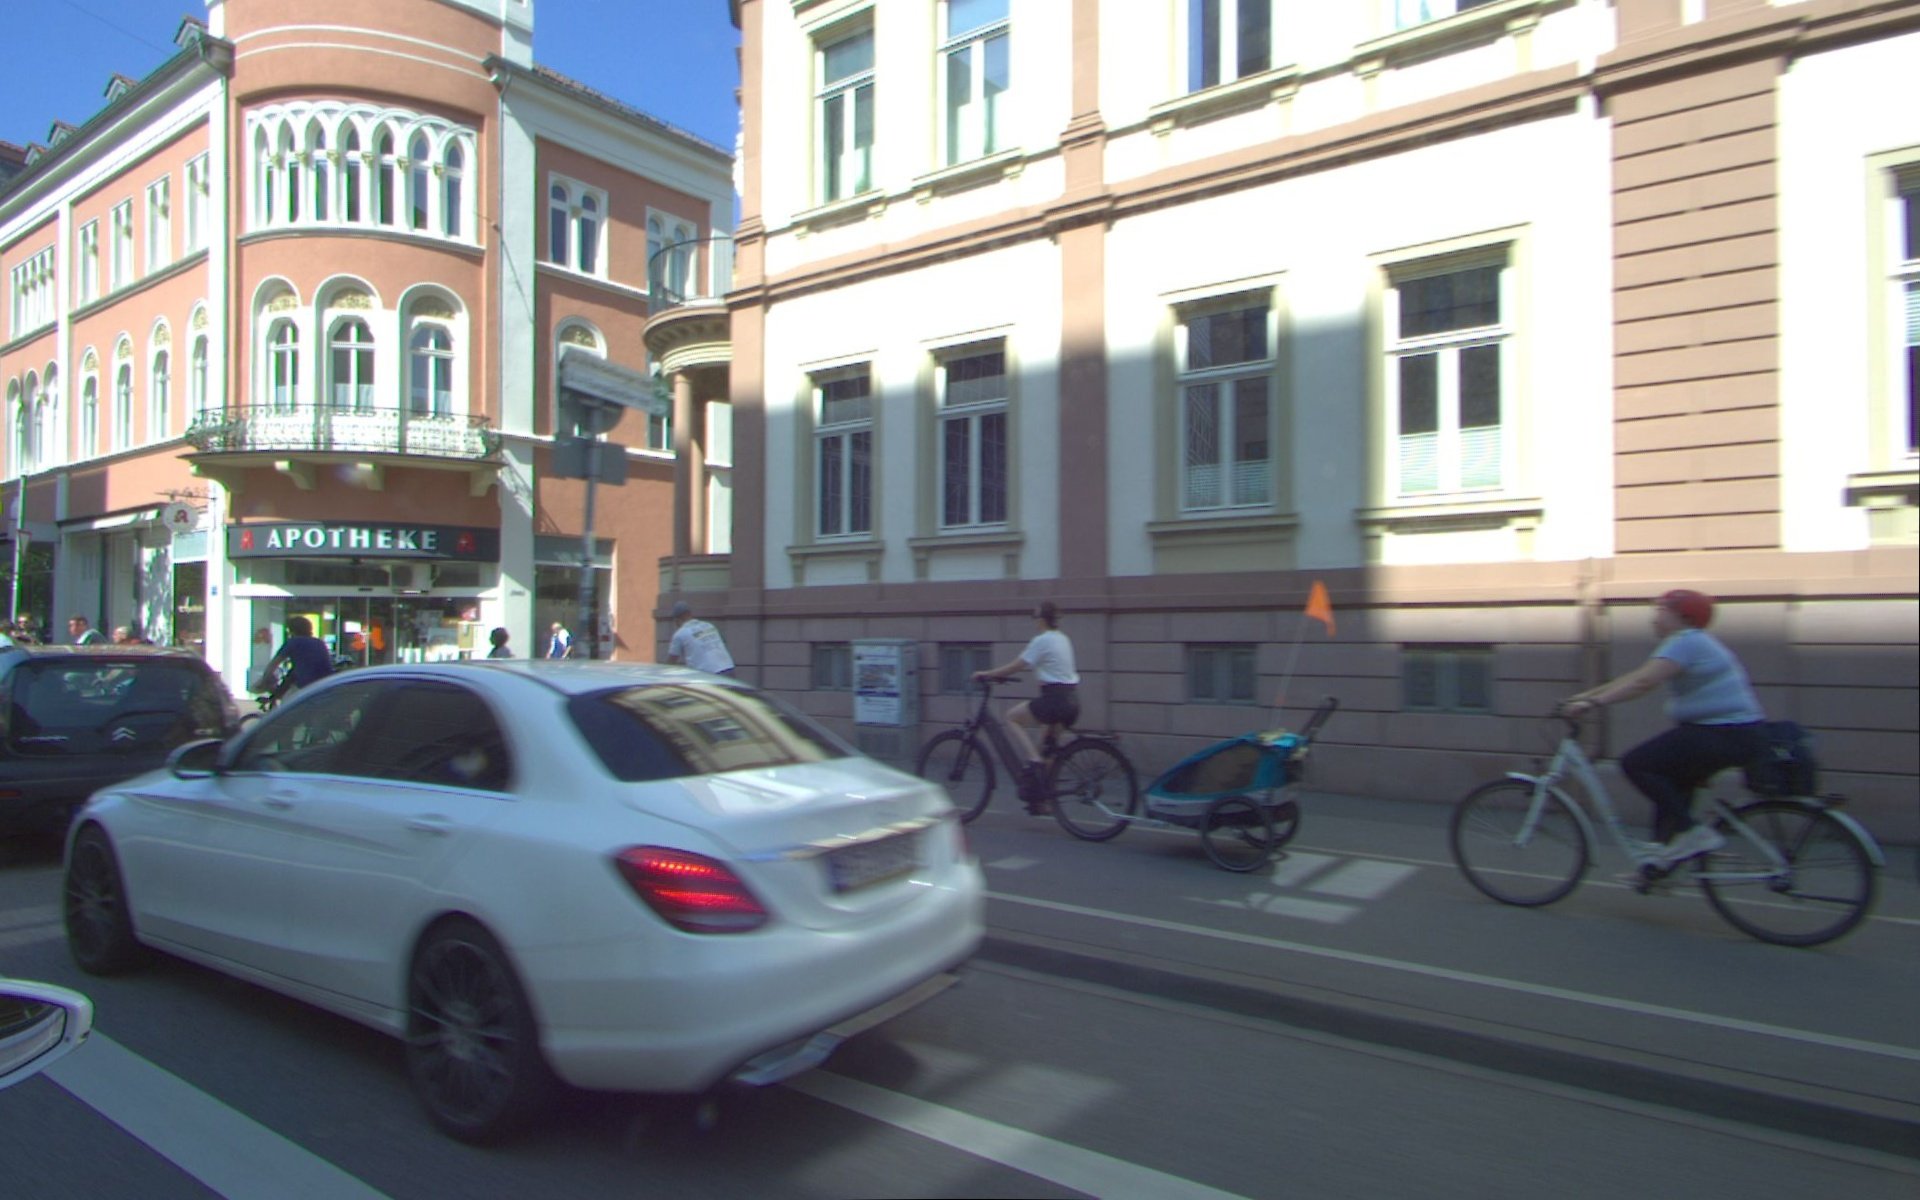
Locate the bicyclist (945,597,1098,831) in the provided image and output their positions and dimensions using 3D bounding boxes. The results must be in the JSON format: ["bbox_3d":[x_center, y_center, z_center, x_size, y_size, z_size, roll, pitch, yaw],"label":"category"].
[{"bbox_3d":[0.466,0.794,7.462,0.832,1.594,0.744,3,1,33],"label":"bicyclist"}]

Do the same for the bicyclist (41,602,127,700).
[{"bbox_3d":[-13.147,0.752,15.040,0.494,1.429,0.857,0,-1,34],"label":"bicyclist"}]

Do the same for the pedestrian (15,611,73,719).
[{"bbox_3d":[-16.319,1.164,17.837,0.608,1.865,0.636,-2,-5,45],"label":"pedestrian"}]

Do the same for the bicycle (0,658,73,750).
[{"bbox_3d":[-12.713,1.297,12.667,2.049,1.140,0.698,3,-3,-25],"label":"bicycle"}]

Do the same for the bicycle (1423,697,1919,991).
[{"bbox_3d":[3.585,1.155,5.263,2.006,1.142,0.733,-1,0,35],"label":"bicycle"}]

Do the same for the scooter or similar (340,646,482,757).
[{"bbox_3d":[-5.915,1.077,10.813,1.108,1.075,0.783,-3,2,25],"label":"scooter or similar"}]

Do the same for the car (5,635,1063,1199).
[{"bbox_3d":[-2.139,0.947,4.518,4.815,1.442,1.951,-1,-4,32],"label":"car"}]

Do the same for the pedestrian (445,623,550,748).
[{"bbox_3d":[-6.359,1.156,13.819,0.957,1.632,0.903,-3,-1,2],"label":"pedestrian"}]

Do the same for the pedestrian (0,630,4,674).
[{"bbox_3d":[-27.965,1.487,28.706,0.524,1.269,0.680,0,0,30],"label":"pedestrian"}]

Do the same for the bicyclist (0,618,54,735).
[{"bbox_3d":[-12.398,0.969,12.820,0.946,1.463,0.698,3,-3,-25],"label":"bicyclist"}]

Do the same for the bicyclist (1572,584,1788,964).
[{"bbox_3d":[3.635,0.815,5.120,0.833,1.739,0.681,-1,-2,33],"label":"bicyclist"}]

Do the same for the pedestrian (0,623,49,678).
[{"bbox_3d":[-25.689,1.366,27.181,0.778,1.440,1.231,-1,-2,30],"label":"pedestrian"}]

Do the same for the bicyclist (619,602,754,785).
[{"bbox_3d":[-2.651,0.864,9.719,1.139,1.684,0.571,1,1,21],"label":"bicyclist"}]

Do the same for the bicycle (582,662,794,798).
[{"bbox_3d":[-2.655,1.219,9.725,2.042,1.142,0.571,1,1,21],"label":"bicycle"}]

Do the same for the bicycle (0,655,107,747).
[{"bbox_3d":[-12.551,1.265,12.685,2.533,1.141,0.626,2,-2,-25],"label":"bicycle"}]

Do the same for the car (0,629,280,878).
[{"bbox_3d":[-6.766,1.024,7.763,3.691,1.496,1.621,-3,-4,42],"label":"car"}]

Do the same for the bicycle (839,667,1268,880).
[{"bbox_3d":[0.560,1.150,7.391,3.196,1.142,0.746,0,0,35],"label":"bicycle"}]

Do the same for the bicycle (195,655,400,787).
[{"bbox_3d":[-7.443,1.305,11.234,2.243,1.285,0.733,1,-2,22],"label":"bicycle"}]

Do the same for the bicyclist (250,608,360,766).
[{"bbox_3d":[-7.374,0.953,11.286,0.761,1.695,0.731,0,-1,22],"label":"bicyclist"}]

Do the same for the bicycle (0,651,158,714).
[{"bbox_3d":[-13.193,1.206,14.960,0.494,0.855,1.817,0,-2,33],"label":"bicycle"}]

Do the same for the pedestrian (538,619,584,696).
[{"bbox_3d":[-9.084,1.300,22.777,0.781,1.680,0.636,3,0,44],"label":"pedestrian"}]

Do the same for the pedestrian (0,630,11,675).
[{"bbox_3d":[-27.465,1.501,28.393,0.600,1.269,0.638,-1,0,30],"label":"pedestrian"}]
